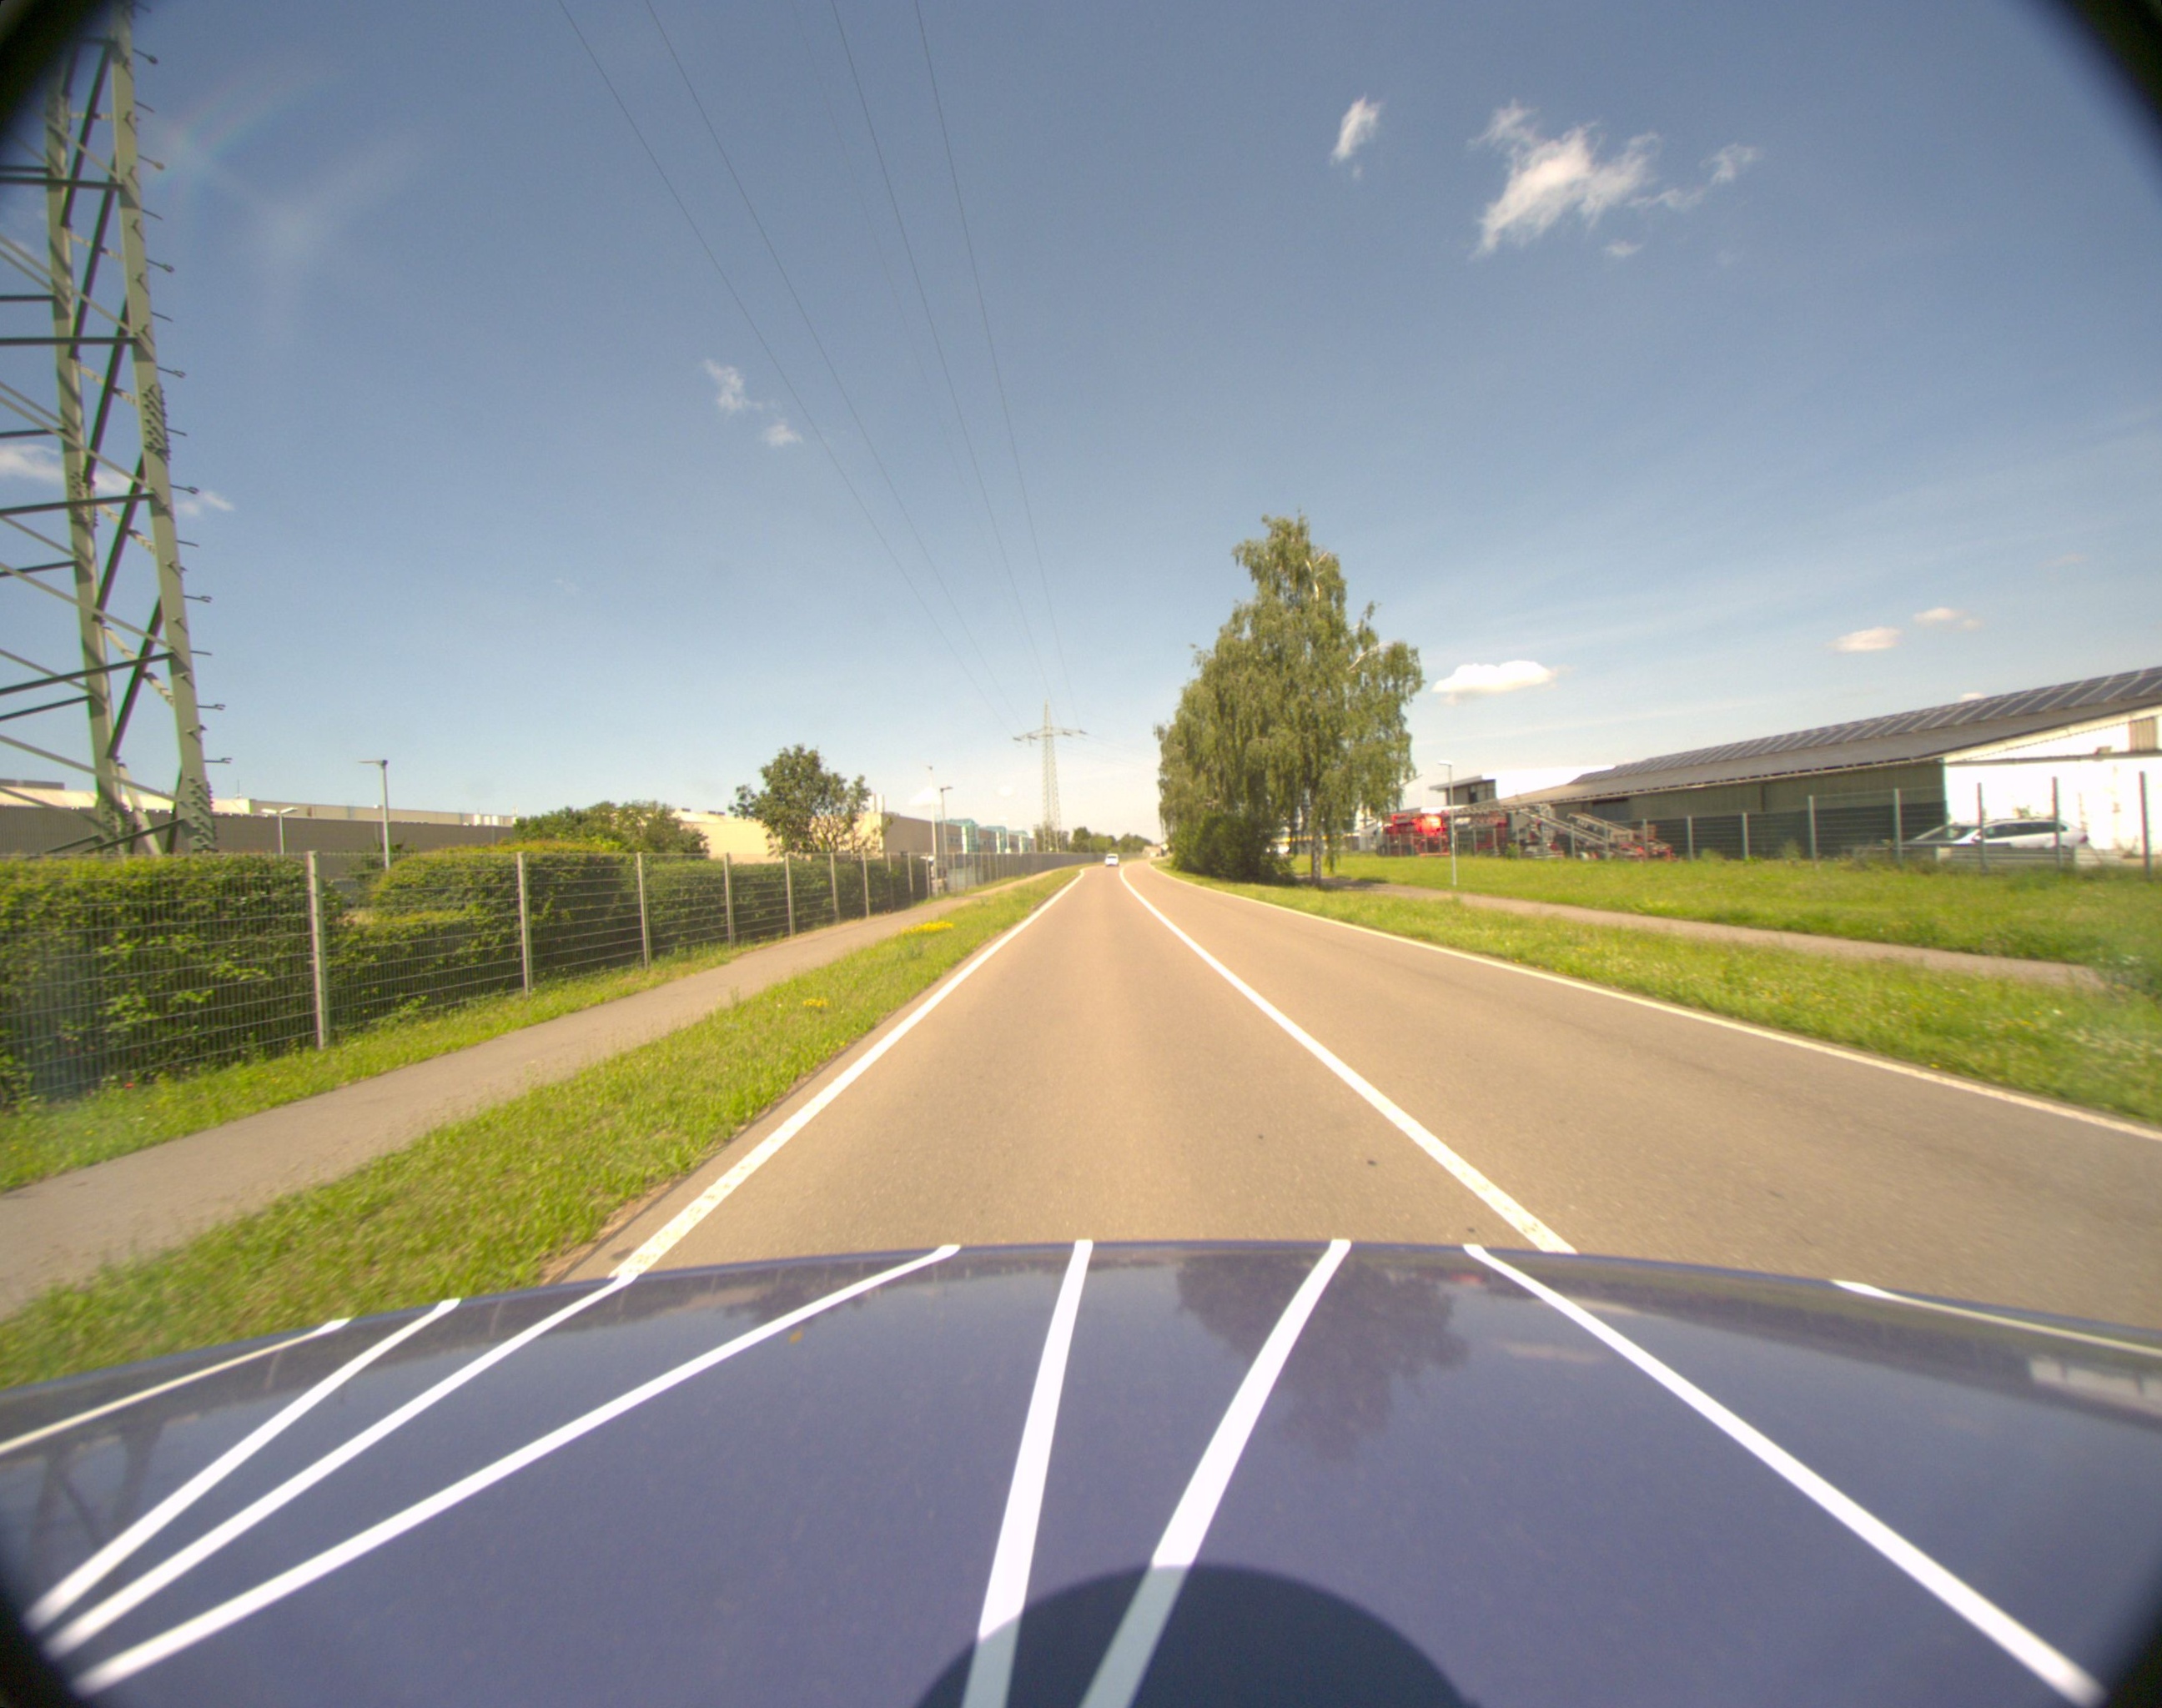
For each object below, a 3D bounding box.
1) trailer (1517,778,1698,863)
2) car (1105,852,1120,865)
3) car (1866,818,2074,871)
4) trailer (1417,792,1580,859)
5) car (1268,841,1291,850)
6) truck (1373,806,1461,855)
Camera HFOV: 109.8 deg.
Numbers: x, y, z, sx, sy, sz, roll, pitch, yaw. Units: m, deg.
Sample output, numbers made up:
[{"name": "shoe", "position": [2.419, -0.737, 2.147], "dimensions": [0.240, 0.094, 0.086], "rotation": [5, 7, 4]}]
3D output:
[{"name": "trailer", "position": [25.709, -1.514, 37.843], "dimensions": [3.407, 3.624, 8.660], "rotation": [-2, 1, 4]}, {"name": "car", "position": [4.779, 0.693, 114.122], "dimensions": [1.835, 1.796, 4.832], "rotation": [-1, 0, 6]}, {"name": "car", "position": [26.692, -0.274, 22.926], "dimensions": [3.996, 1.335, 1.748], "rotation": [-3, 0, 4]}, {"name": "trailer", "position": [26.464, -1.665, 49.593], "dimensions": [3.298, 3.624, 14.927], "rotation": [-2, 1, 4]}, {"name": "car", "position": [39.602, -1.665, 151.679], "dimensions": [4.220, 1.591, 1.871], "rotation": [-2, 1, 2]}, {"name": "truck", "position": [27.250, -1.827, 62.313], "dimensions": [3.108, 3.624, 10.595], "rotation": [-2, 1, 4]}]
